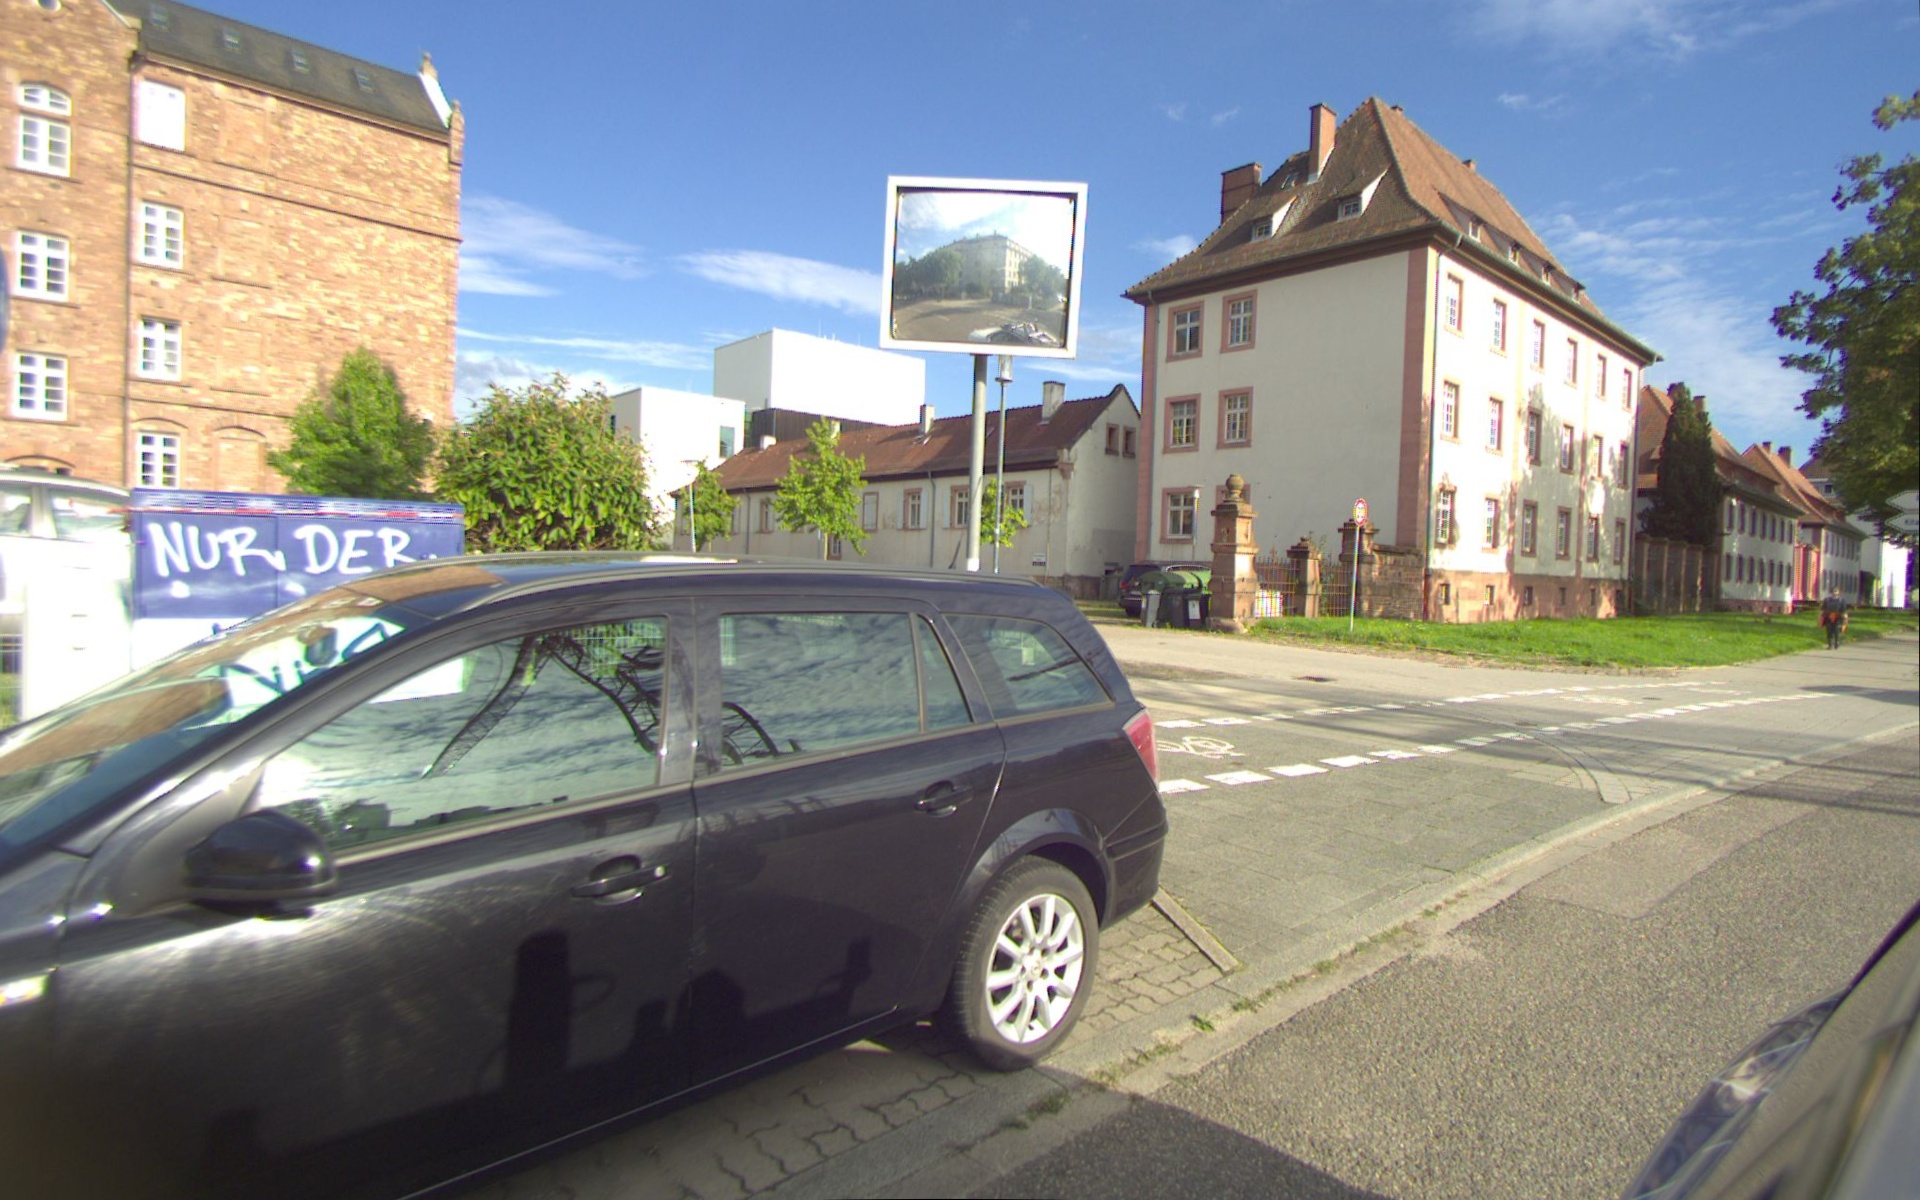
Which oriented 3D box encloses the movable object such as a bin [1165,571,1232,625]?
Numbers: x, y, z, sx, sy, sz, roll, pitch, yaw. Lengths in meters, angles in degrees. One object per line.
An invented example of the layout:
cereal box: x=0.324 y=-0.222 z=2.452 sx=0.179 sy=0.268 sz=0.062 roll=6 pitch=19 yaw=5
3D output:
movable object such as a bin: x=5.845 y=-0.062 z=24.812 sx=1.075 sy=1.246 sz=1.191 roll=0 pitch=2 yaw=-45

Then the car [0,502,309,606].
car: x=-15.537 y=-0.874 z=19.520 sx=1.851 sy=1.764 sz=4.727 roll=5 pitch=4 yaw=43

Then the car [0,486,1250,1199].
car: x=-1.162 y=0.546 z=2.771 sx=4.193 sy=1.514 sz=1.721 roll=0 pitch=3 yaw=-41

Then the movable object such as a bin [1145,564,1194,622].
movable object such as a bin: x=5.367 y=-0.195 z=25.937 sx=0.927 sy=1.440 sz=0.830 roll=0 pitch=2 yaw=-45

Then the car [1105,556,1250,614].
car: x=6.776 y=-0.452 z=31.347 sx=4.423 sy=1.627 sz=1.999 roll=0 pitch=3 yaw=-39

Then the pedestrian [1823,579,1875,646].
pedestrian: x=22.706 y=0.307 z=25.857 sx=0.756 sy=1.609 sz=0.815 roll=0 pitch=4 yaw=-42

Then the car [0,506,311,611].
car: x=-13.998 y=-0.711 z=17.443 sx=4.526 sy=1.608 sz=1.854 roll=0 pitch=4 yaw=-41

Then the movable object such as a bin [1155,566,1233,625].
movable object such as a bin: x=6.194 y=-0.140 z=26.812 sx=1.519 sy=1.477 sz=1.414 roll=0 pitch=2 yaw=-45

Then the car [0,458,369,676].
car: x=-7.726 y=-0.307 z=8.884 sx=4.079 sy=1.686 sz=1.998 roll=0 pitch=3 yaw=-41

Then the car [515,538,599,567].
car: x=-29.568 y=-3.451 z=74.397 sx=5.388 sy=2.039 sz=1.998 roll=0 pitch=1 yaw=-39
